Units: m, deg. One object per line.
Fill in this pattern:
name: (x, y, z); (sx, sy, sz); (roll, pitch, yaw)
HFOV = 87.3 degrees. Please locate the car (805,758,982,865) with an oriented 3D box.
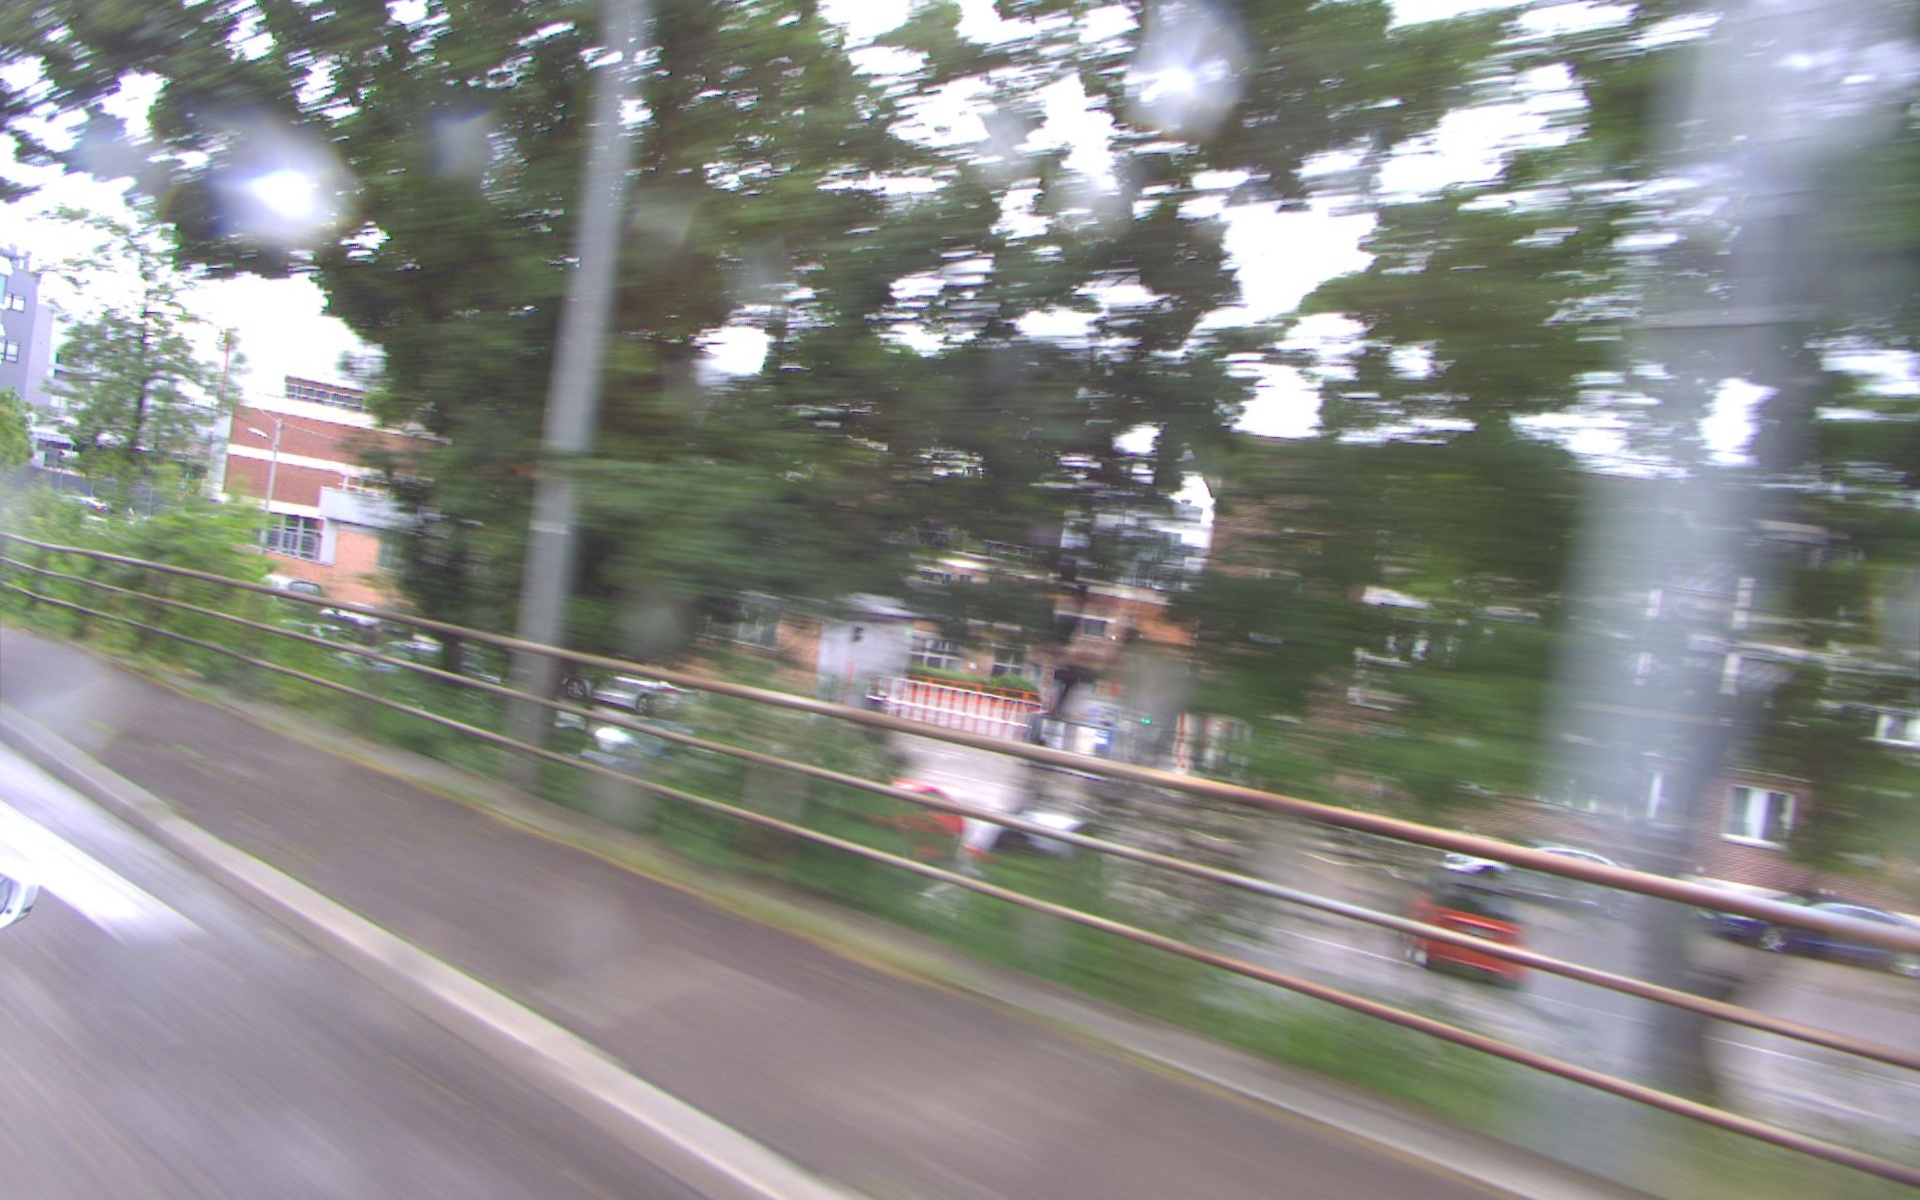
car: (-1.006, 3.551, 17.131); (1.521, 1.317, 3.577); (8, -7, 21)

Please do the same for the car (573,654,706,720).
car: (-10.512, 2.816, 33.034); (3.786, 1.504, 1.704); (8, 0, 21)

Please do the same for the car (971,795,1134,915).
car: (1.599, 3.926, 15.986); (1.521, 1.317, 3.869); (8, -7, 20)

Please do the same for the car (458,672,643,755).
car: (-9.128, 2.607, 22.720); (1.523, 1.317, 3.573); (7, -7, 29)

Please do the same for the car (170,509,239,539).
car: (-61.492, -6.191, 81.952); (3.924, 1.620, 1.904); (10, 0, -17)

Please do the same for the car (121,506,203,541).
car: (-52.891, -5.037, 66.707); (4.087, 1.547, 1.838); (8, -1, 9)

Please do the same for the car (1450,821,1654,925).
car: (14.533, 6.695, 24.937); (3.924, 1.412, 1.669); (8, -1, 16)

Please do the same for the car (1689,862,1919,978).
car: (20.105, 7.498, 23.638); (4.366, 1.542, 1.750); (8, -1, 12)

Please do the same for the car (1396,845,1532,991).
car: (8.450, 5.276, 17.117); (1.487, 1.413, 3.415); (9, -2, 20)

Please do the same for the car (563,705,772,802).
car: (-5.341, 2.924, 18.812); (1.523, 1.317, 3.573); (7, -7, 29)
